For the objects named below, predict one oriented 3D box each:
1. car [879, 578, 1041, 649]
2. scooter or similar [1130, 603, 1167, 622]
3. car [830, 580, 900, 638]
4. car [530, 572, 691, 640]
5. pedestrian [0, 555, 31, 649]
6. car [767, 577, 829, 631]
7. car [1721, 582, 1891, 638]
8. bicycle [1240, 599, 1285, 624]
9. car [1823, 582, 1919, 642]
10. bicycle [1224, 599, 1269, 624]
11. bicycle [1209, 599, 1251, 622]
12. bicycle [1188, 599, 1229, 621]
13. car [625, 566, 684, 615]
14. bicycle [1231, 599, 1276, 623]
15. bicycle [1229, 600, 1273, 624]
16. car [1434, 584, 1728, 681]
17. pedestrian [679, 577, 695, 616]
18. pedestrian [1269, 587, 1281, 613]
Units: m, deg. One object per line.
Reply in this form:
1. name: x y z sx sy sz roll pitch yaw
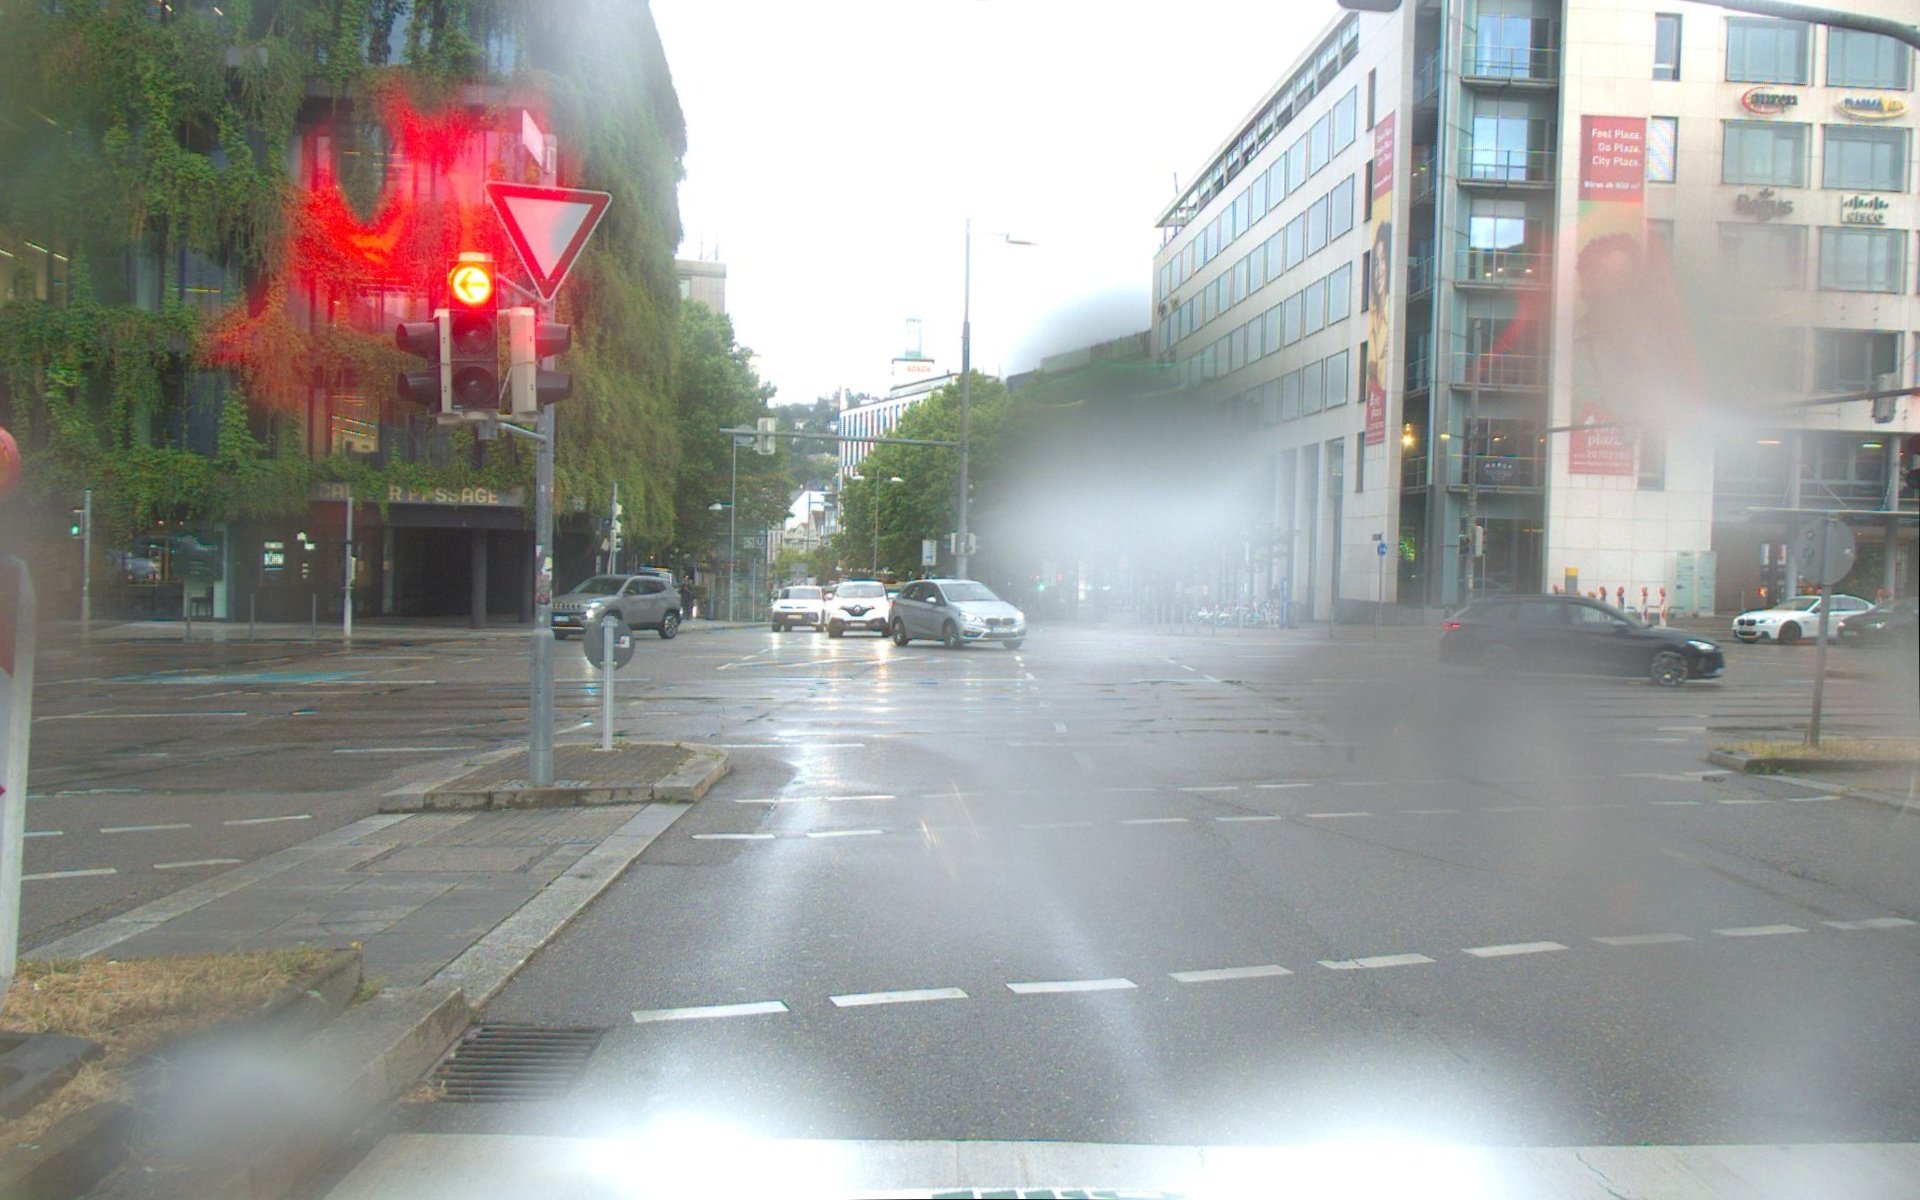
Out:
1. car: -0.080 0.265 38.443 1.970 1.468 4.516 -1 2 -27
2. scooter or similar: 9.111 0.606 79.931 1.720 0.894 0.486 0 0 -20
3. car: -2.823 0.222 48.663 1.954 1.556 4.553 0 2 -4
4. car: -8.862 0.129 42.299 1.952 1.626 4.466 1 0 20
5. pedestrian: -18.431 0.026 31.961 0.731 1.788 0.969 0 0 -24
6. car: -5.839 0.127 59.928 2.132 1.855 4.639 1 0 -5
7. car: 25.339 0.289 49.569 4.378 1.626 1.992 0 0 -16
8. bicycle: 11.893 0.433 65.028 1.767 0.950 0.473 1 0 41
9. car: 26.778 0.346 46.323 4.373 1.626 1.994 1 0 -13
10. bicycle: 11.146 0.431 64.374 1.767 0.950 0.473 1 0 41
11. bicycle: 11.604 0.457 71.062 1.757 0.950 0.475 1 0 2
12. bicycle: 10.960 0.450 72.901 1.757 0.950 0.475 1 0 2
13. car: -12.529 -0.388 68.109 1.955 1.928 4.460 1 0 -5
14. bicycle: 11.720 0.432 65.991 1.767 0.950 0.473 1 0 41
15. bicycle: 11.745 0.470 66.736 1.767 0.950 0.473 1 0 41
16. car: 10.477 0.502 28.066 4.512 1.473 1.862 1 1 22
17. pedestrian: -10.997 -0.150 66.595 0.595 1.550 0.587 1 0 -5
18. pedestrian: 14.631 0.004 76.825 0.407 1.194 0.352 0 0 39
